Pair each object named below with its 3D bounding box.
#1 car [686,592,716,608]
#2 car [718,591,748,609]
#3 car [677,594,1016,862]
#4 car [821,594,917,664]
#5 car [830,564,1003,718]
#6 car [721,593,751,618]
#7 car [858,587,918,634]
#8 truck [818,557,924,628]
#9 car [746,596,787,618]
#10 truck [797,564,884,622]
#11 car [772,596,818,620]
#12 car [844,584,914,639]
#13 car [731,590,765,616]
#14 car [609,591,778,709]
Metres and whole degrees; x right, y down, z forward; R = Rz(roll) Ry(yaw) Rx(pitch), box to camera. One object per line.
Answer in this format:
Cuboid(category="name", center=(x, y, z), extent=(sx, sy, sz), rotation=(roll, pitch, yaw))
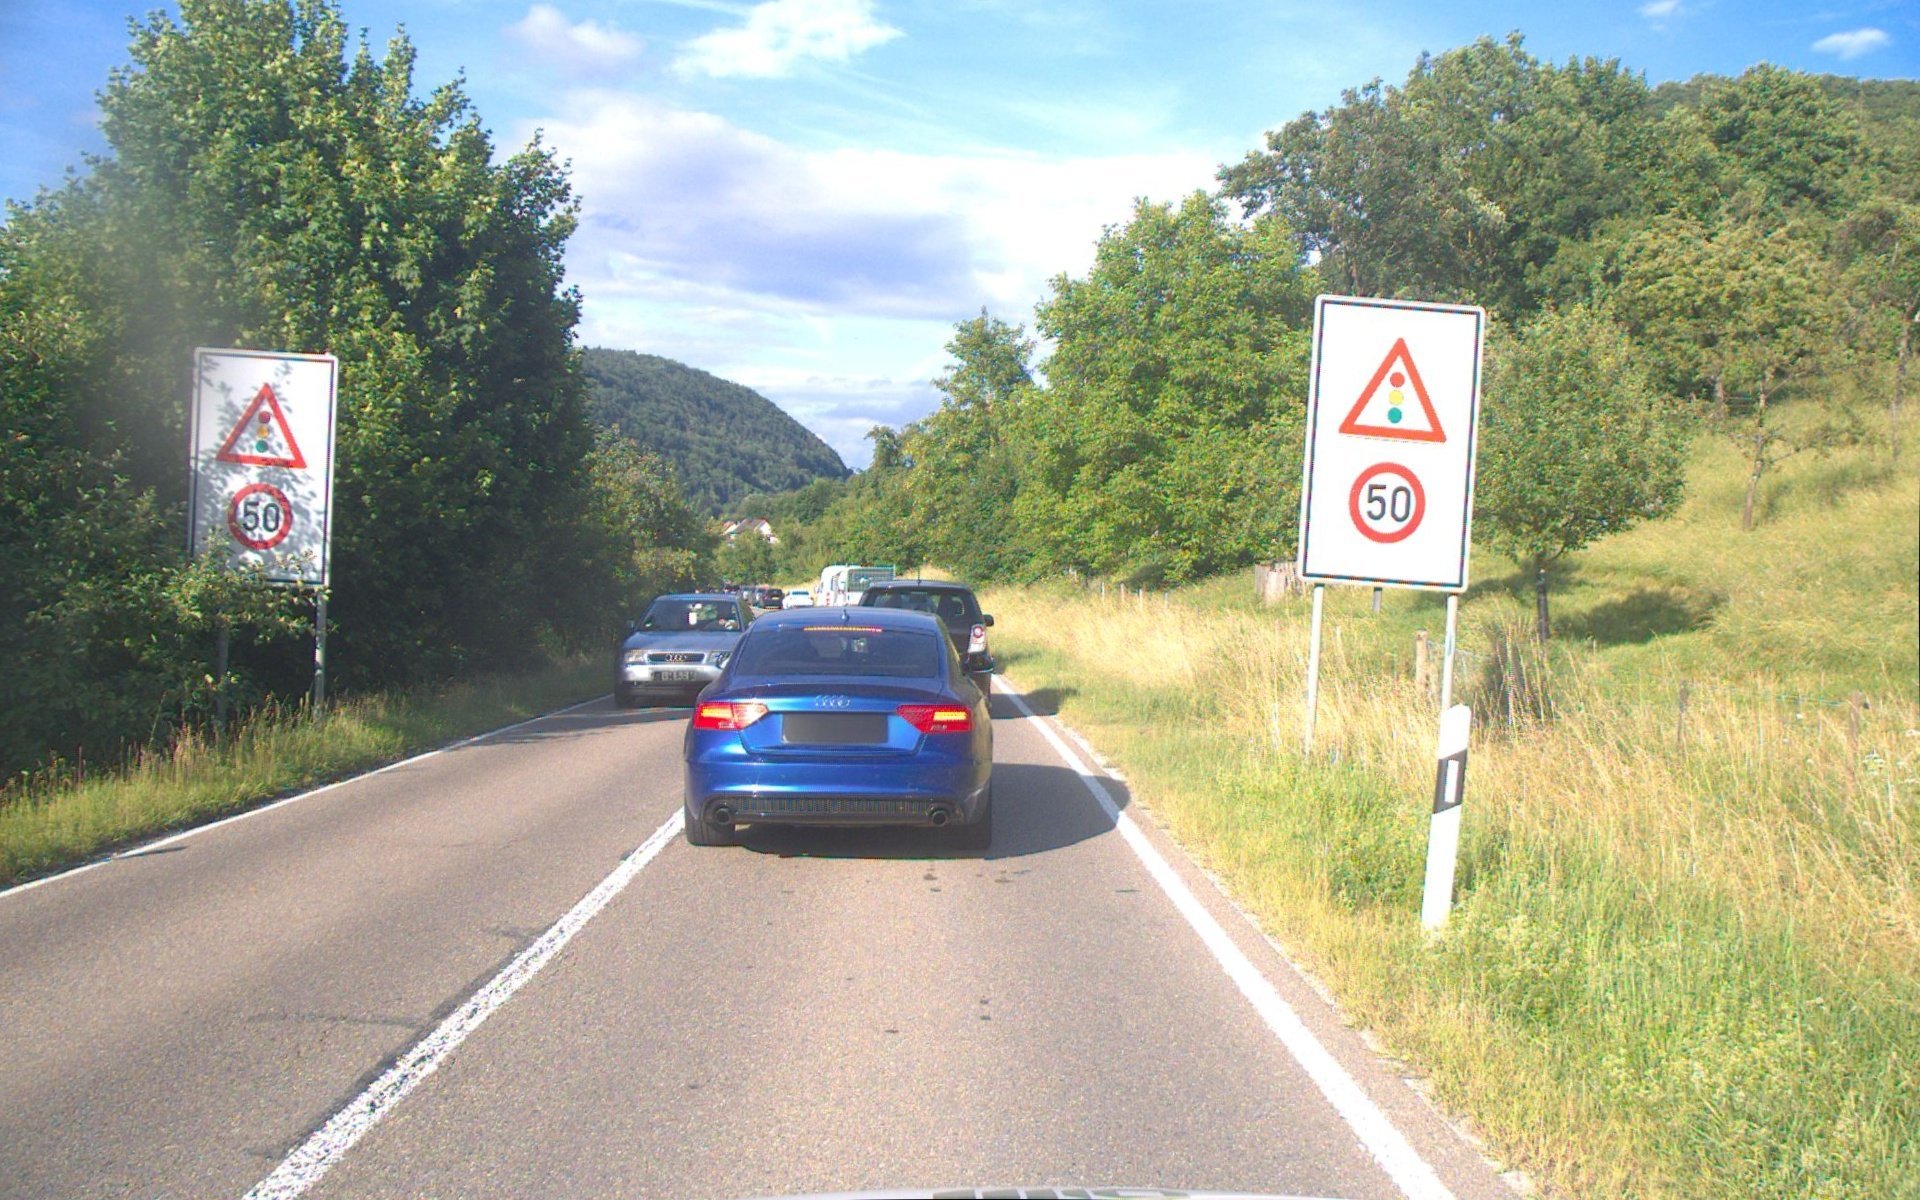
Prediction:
Cuboid(category="car", center=(-24.985, -0.016, 159.459), extent=(1.967, 1.508, 3.970), rotation=(1, 0, -24))
Cuboid(category="car", center=(-20.086, 0.008, 146.133), extent=(1.963, 1.508, 3.980), rotation=(1, 0, -18))
Cuboid(category="car", center=(-0.625, 0.682, 10.694), extent=(1.757, 1.383, 3.999), rotation=(1, 0, -1))
Cuboid(category="car", center=(-1.947, 0.612, 36.123), extent=(1.953, 1.411, 3.998), rotation=(1, 0, -2))
Cuboid(category="car", center=(-0.556, 0.477, 20.870), extent=(1.953, 1.732, 3.998), rotation=(1, 0, -2))
Cuboid(category="car", center=(-18.985, 0.453, 140.073), extent=(1.961, 2.049, 3.982), rotation=(1, 0, -16))
Cuboid(category="car", center=(-2.421, 0.338, 56.100), extent=(1.953, 1.508, 3.998), rotation=(1, 0, -2))
Cuboid(category="truck", center=(-3.912, -0.323, 70.092), extent=(2.814, 2.712, 10.360), rotation=(1, 0, -12))
Cuboid(category="car", center=(-14.064, 0.485, 120.162), extent=(1.966, 1.508, 3.973), rotation=(1, 0, -22))
Cuboid(category="truck", center=(-6.099, -0.356, 82.737), extent=(2.814, 2.712, 10.611), rotation=(1, 0, -12))
Cuboid(category="car", center=(-10.827, 0.515, 108.602), extent=(1.966, 1.508, 3.973), rotation=(1, 0, -22))
Cuboid(category="car", center=(-2.356, 0.332, 48.656), extent=(1.953, 1.508, 3.998), rotation=(1, 0, -2))
Cuboid(category="car", center=(-16.706, 0.231, 129.937), extent=(1.962, 2.049, 3.980), rotation=(1, 0, -17))
Cuboid(category="car", center=(-3.443, 0.603, 21.932), extent=(1.657, 1.434, 3.663), rotation=(0, 0, 0))
